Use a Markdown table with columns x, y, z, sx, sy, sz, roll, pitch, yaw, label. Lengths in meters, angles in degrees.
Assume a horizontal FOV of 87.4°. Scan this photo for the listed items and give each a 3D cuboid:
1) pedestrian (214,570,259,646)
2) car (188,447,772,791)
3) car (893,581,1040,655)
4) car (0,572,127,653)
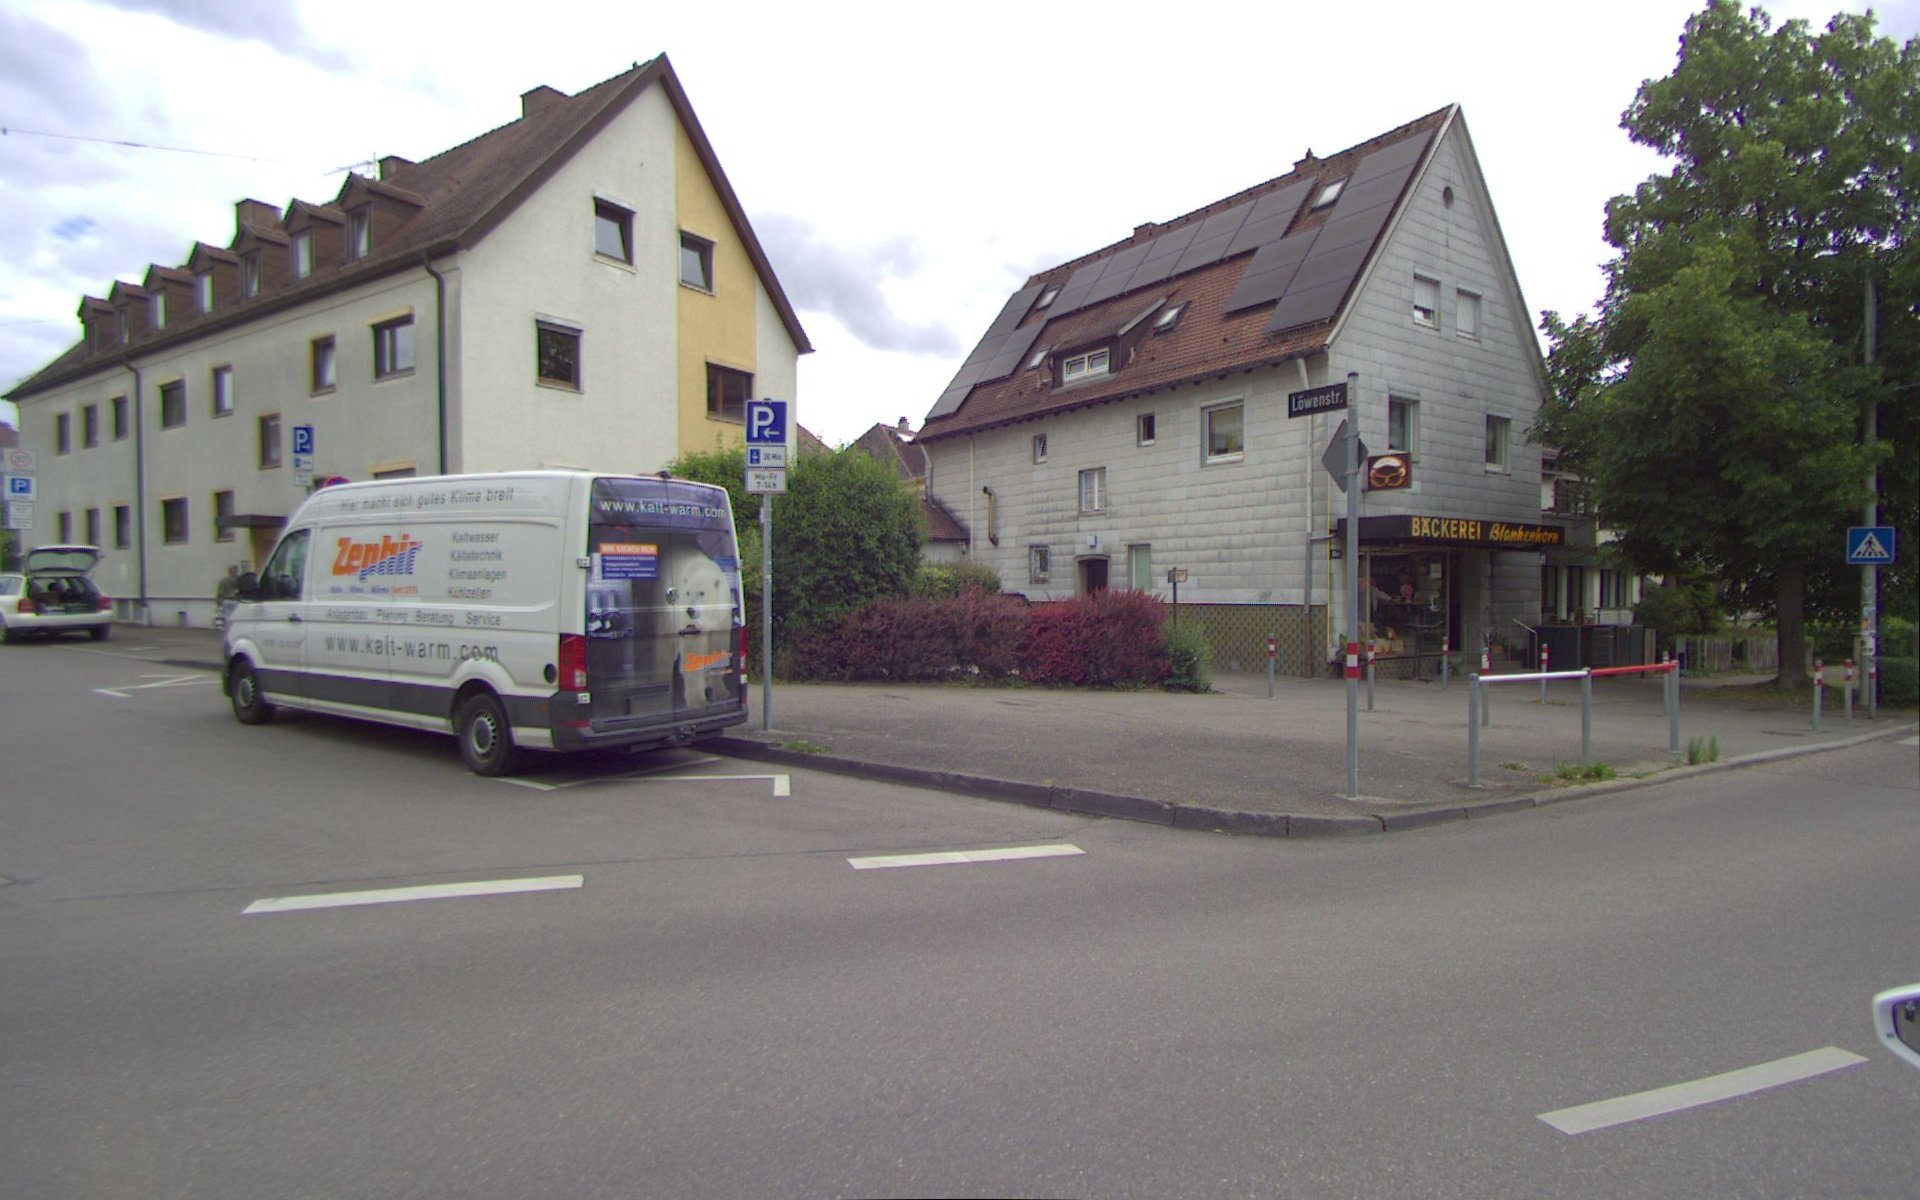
| x | y | z | sx | sy | sz | roll | pitch | yaw | label |
| --- | --- | --- | --- | --- | --- | --- | --- | --- | --- |
| -15.228 | 0.150 | 21.141 | 0.742 | 1.555 | 0.709 | -1 | 4 | -37 | pedestrian |
| -5.160 | 0.041 | 10.225 | 6.861 | 2.556 | 2.079 | 2 | 3 | 33 | car |
| 0.093 | 0.414 | 25.314 | 1.828 | 1.580 | 3.655 | 2 | 2 | -37 | car |
| -19.554 | 0.190 | 21.180 | 4.240 | 1.459 | 1.718 | 3 | 3 | 31 | car |
